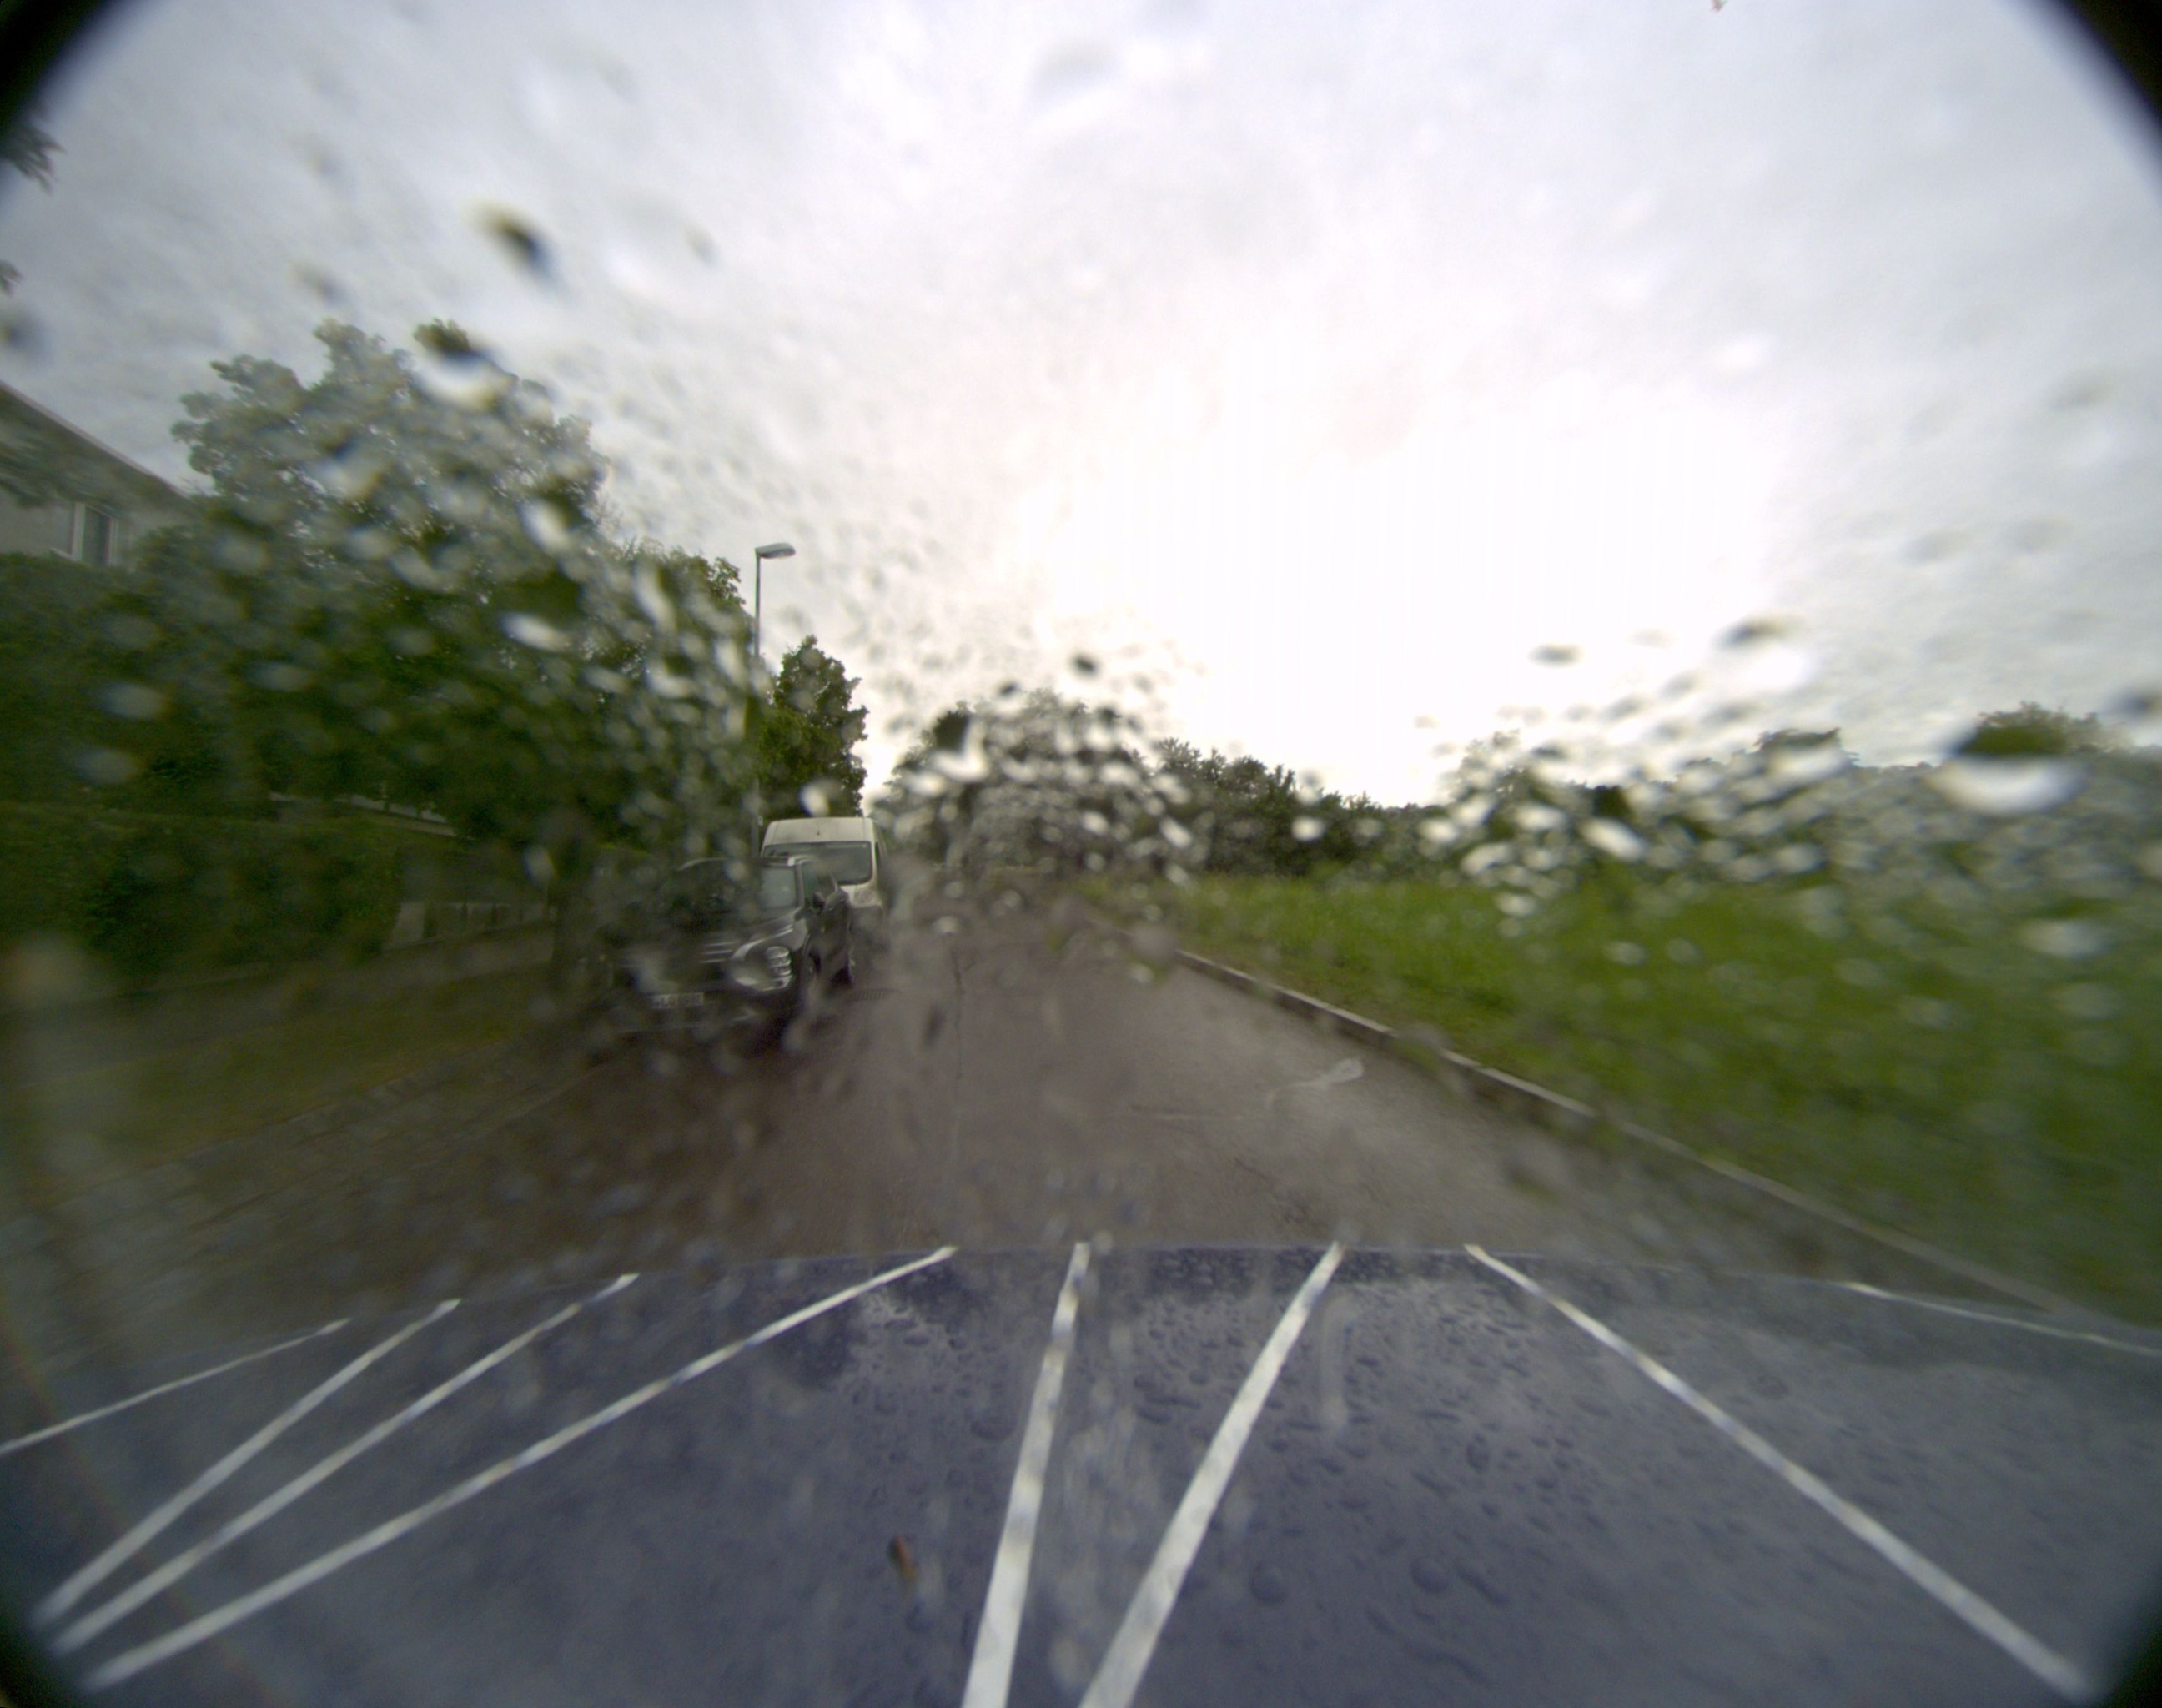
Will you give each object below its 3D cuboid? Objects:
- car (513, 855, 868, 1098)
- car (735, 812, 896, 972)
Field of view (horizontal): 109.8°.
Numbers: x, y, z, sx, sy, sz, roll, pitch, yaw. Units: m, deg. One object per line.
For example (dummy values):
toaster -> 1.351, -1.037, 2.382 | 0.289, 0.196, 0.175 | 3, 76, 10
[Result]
car -> -3.569, 0.915, 8.057 | 1.817, 1.717, 4.648 | -1, 1, -7
car -> -4.586, 0.565, 13.988 | 2.055, 2.317, 5.402 | -1, 0, -12
